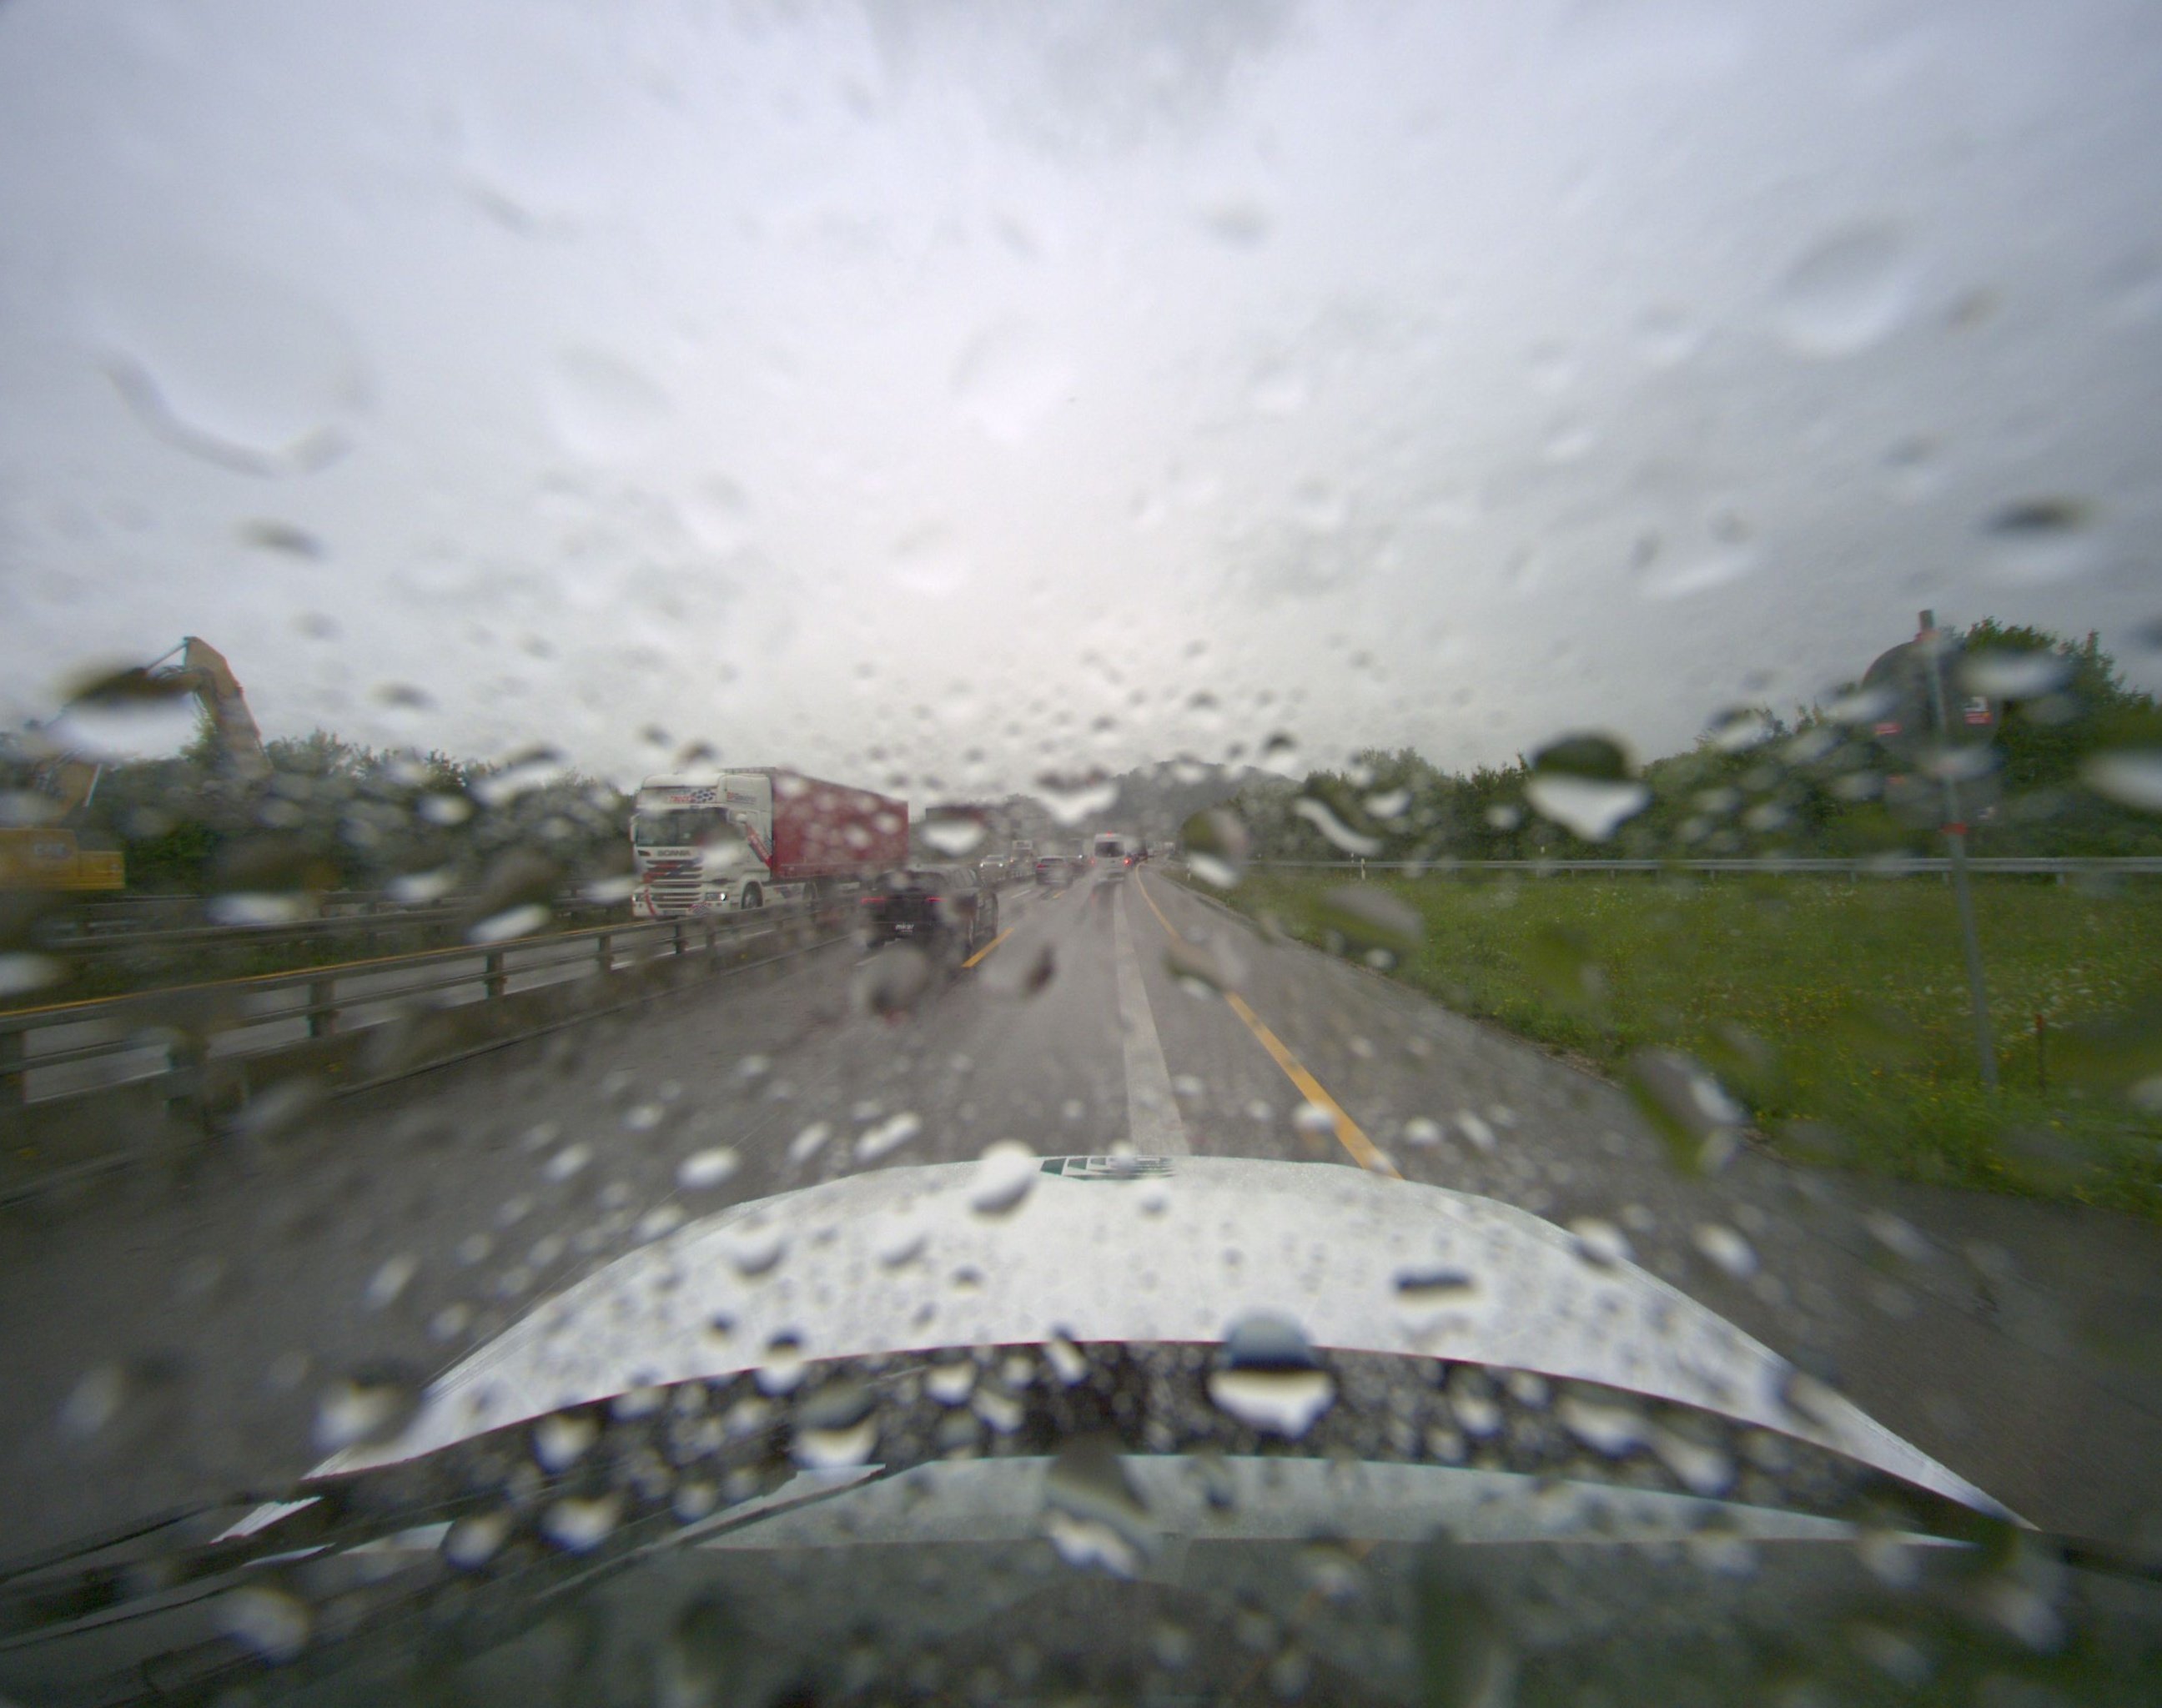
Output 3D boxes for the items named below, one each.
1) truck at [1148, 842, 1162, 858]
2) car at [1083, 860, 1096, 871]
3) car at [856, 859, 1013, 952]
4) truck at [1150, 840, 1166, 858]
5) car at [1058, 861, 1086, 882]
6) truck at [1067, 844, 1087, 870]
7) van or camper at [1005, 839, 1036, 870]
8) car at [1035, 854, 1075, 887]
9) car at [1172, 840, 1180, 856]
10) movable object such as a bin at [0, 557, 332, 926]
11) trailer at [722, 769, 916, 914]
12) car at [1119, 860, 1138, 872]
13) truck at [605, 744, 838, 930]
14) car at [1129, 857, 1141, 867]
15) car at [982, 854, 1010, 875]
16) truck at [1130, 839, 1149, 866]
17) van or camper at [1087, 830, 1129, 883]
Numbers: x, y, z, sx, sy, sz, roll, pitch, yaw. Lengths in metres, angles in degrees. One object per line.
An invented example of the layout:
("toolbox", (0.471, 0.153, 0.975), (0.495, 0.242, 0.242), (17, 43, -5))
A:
("truck", (18.401, -0.914, 202.581), (3.306, 3.762, 9.916), (0, -1, 4))
("car", (0.910, 1.185, 83.637), (1.258, 1.078, 3.256), (-1, 0, 2))
("car", (-2.478, 0.820, 15.031), (1.932, 1.427, 4.761), (0, 0, 1))
("truck", (21.237, -1.433, 225.147), (3.906, 4.785, 9.929), (0, -1, 8))
("car", (-0.636, 1.308, 61.180), (1.845, 1.500, 4.003), (-1, 0, 3))
("truck", (-0.628, 0.501, 137.319), (2.876, 4.232, 6.332), (-2, -1, 4))
("van or camper", (-6.018, 0.067, 81.718), (2.284, 3.041, 6.702), (0, -1, 2))
("car", (-1.367, 0.881, 44.509), (1.860, 1.659, 3.990), (-1, 0, 2))
("car", (25.757, -1.534, 221.453), (2.047, 4.192, 6.757), (-1, 0, 6))
("movable object such as a bin", (-25.498, -2.459, 21.359), (3.581, 8.144, 8.315), (0, -1, 4))
("trailer", (-9.071, -0.330, 30.228), (2.963, 4.295, 11.068), (-2, -1, 3))
("car", (4.396, 1.078, 75.933), (1.381, 1.078, 3.119), (-1, 0, -3))
("truck", (-9.482, -0.381, 22.540), (2.995, 4.272, 6.806), (-2, -1, 3))
("car", (6.917, 1.058, 104.498), (1.380, 1.256, 3.121), (-1, 0, -1))
("car", (-6.800, 0.834, 65.464), (1.629, 1.668, 4.546), (0, -1, 2))
("truck", (10.783, -0.206, 151.079), (3.306, 4.785, 9.916), (0, -1, 4))
("van or camper", (1.500, 0.143, 44.971), (2.131, 2.721, 4.651), (-1, 0, 2))
